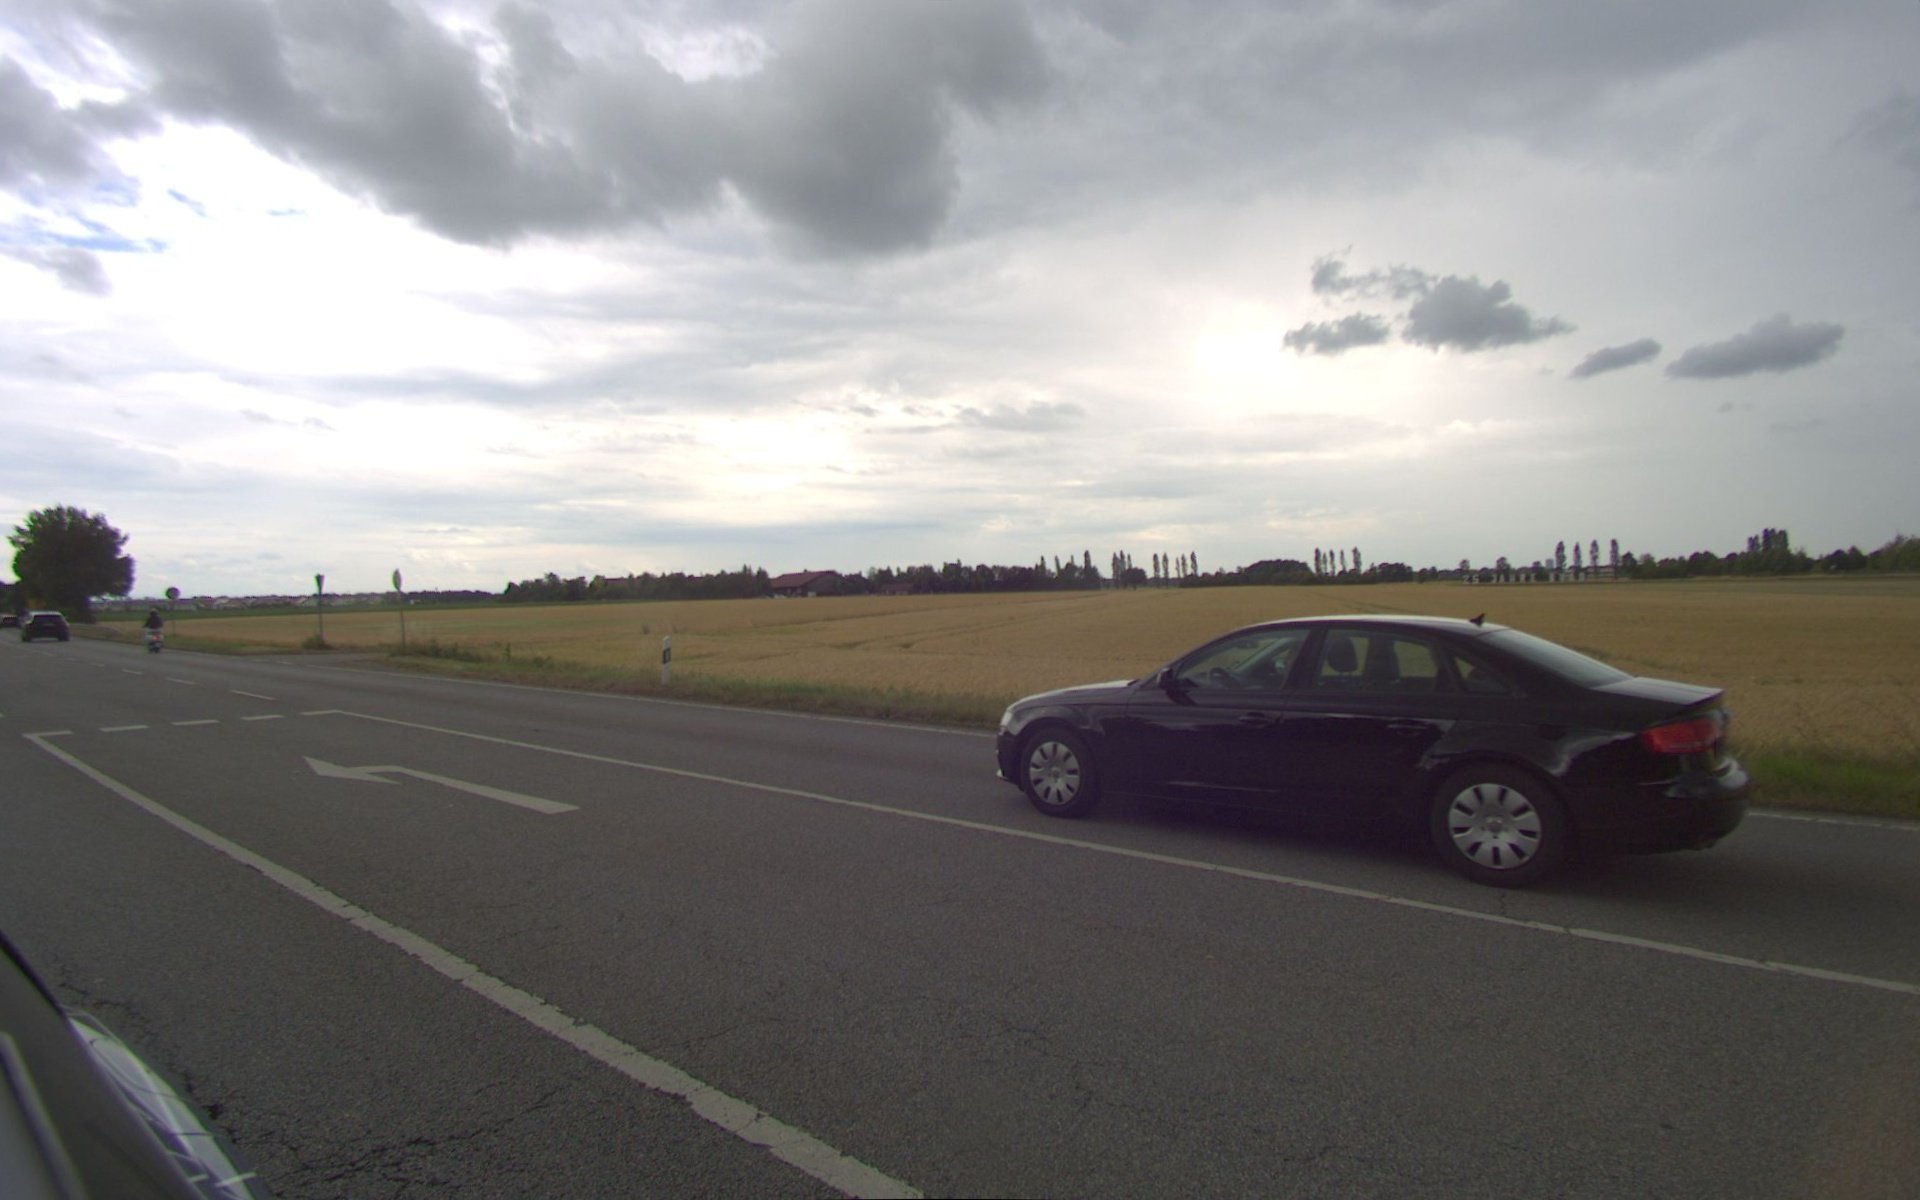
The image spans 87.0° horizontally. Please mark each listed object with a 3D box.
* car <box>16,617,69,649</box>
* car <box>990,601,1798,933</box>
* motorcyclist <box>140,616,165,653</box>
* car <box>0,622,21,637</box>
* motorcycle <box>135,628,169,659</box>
[{"bbox_3d":[-51.895,1.856,57.194,4.447,1.707,1.925,-1,-1,44],"label":"car"},{"bbox_3d":[2.475,0.755,6.476,4.421,1.421,1.808,-1,-1,40],"label":"car"},{"bbox_3d":[-31.407,1.337,39.350,0.809,1.394,0.633,-1,-1,42],"label":"motorcyclist"},{"bbox_3d":[-98.810,3.060,104.852,1.969,1.521,4.006,1,-2,-40],"label":"car"},{"bbox_3d":[-31.468,1.695,39.399,2.024,1.157,0.718,-1,-1,43],"label":"motorcycle"}]
